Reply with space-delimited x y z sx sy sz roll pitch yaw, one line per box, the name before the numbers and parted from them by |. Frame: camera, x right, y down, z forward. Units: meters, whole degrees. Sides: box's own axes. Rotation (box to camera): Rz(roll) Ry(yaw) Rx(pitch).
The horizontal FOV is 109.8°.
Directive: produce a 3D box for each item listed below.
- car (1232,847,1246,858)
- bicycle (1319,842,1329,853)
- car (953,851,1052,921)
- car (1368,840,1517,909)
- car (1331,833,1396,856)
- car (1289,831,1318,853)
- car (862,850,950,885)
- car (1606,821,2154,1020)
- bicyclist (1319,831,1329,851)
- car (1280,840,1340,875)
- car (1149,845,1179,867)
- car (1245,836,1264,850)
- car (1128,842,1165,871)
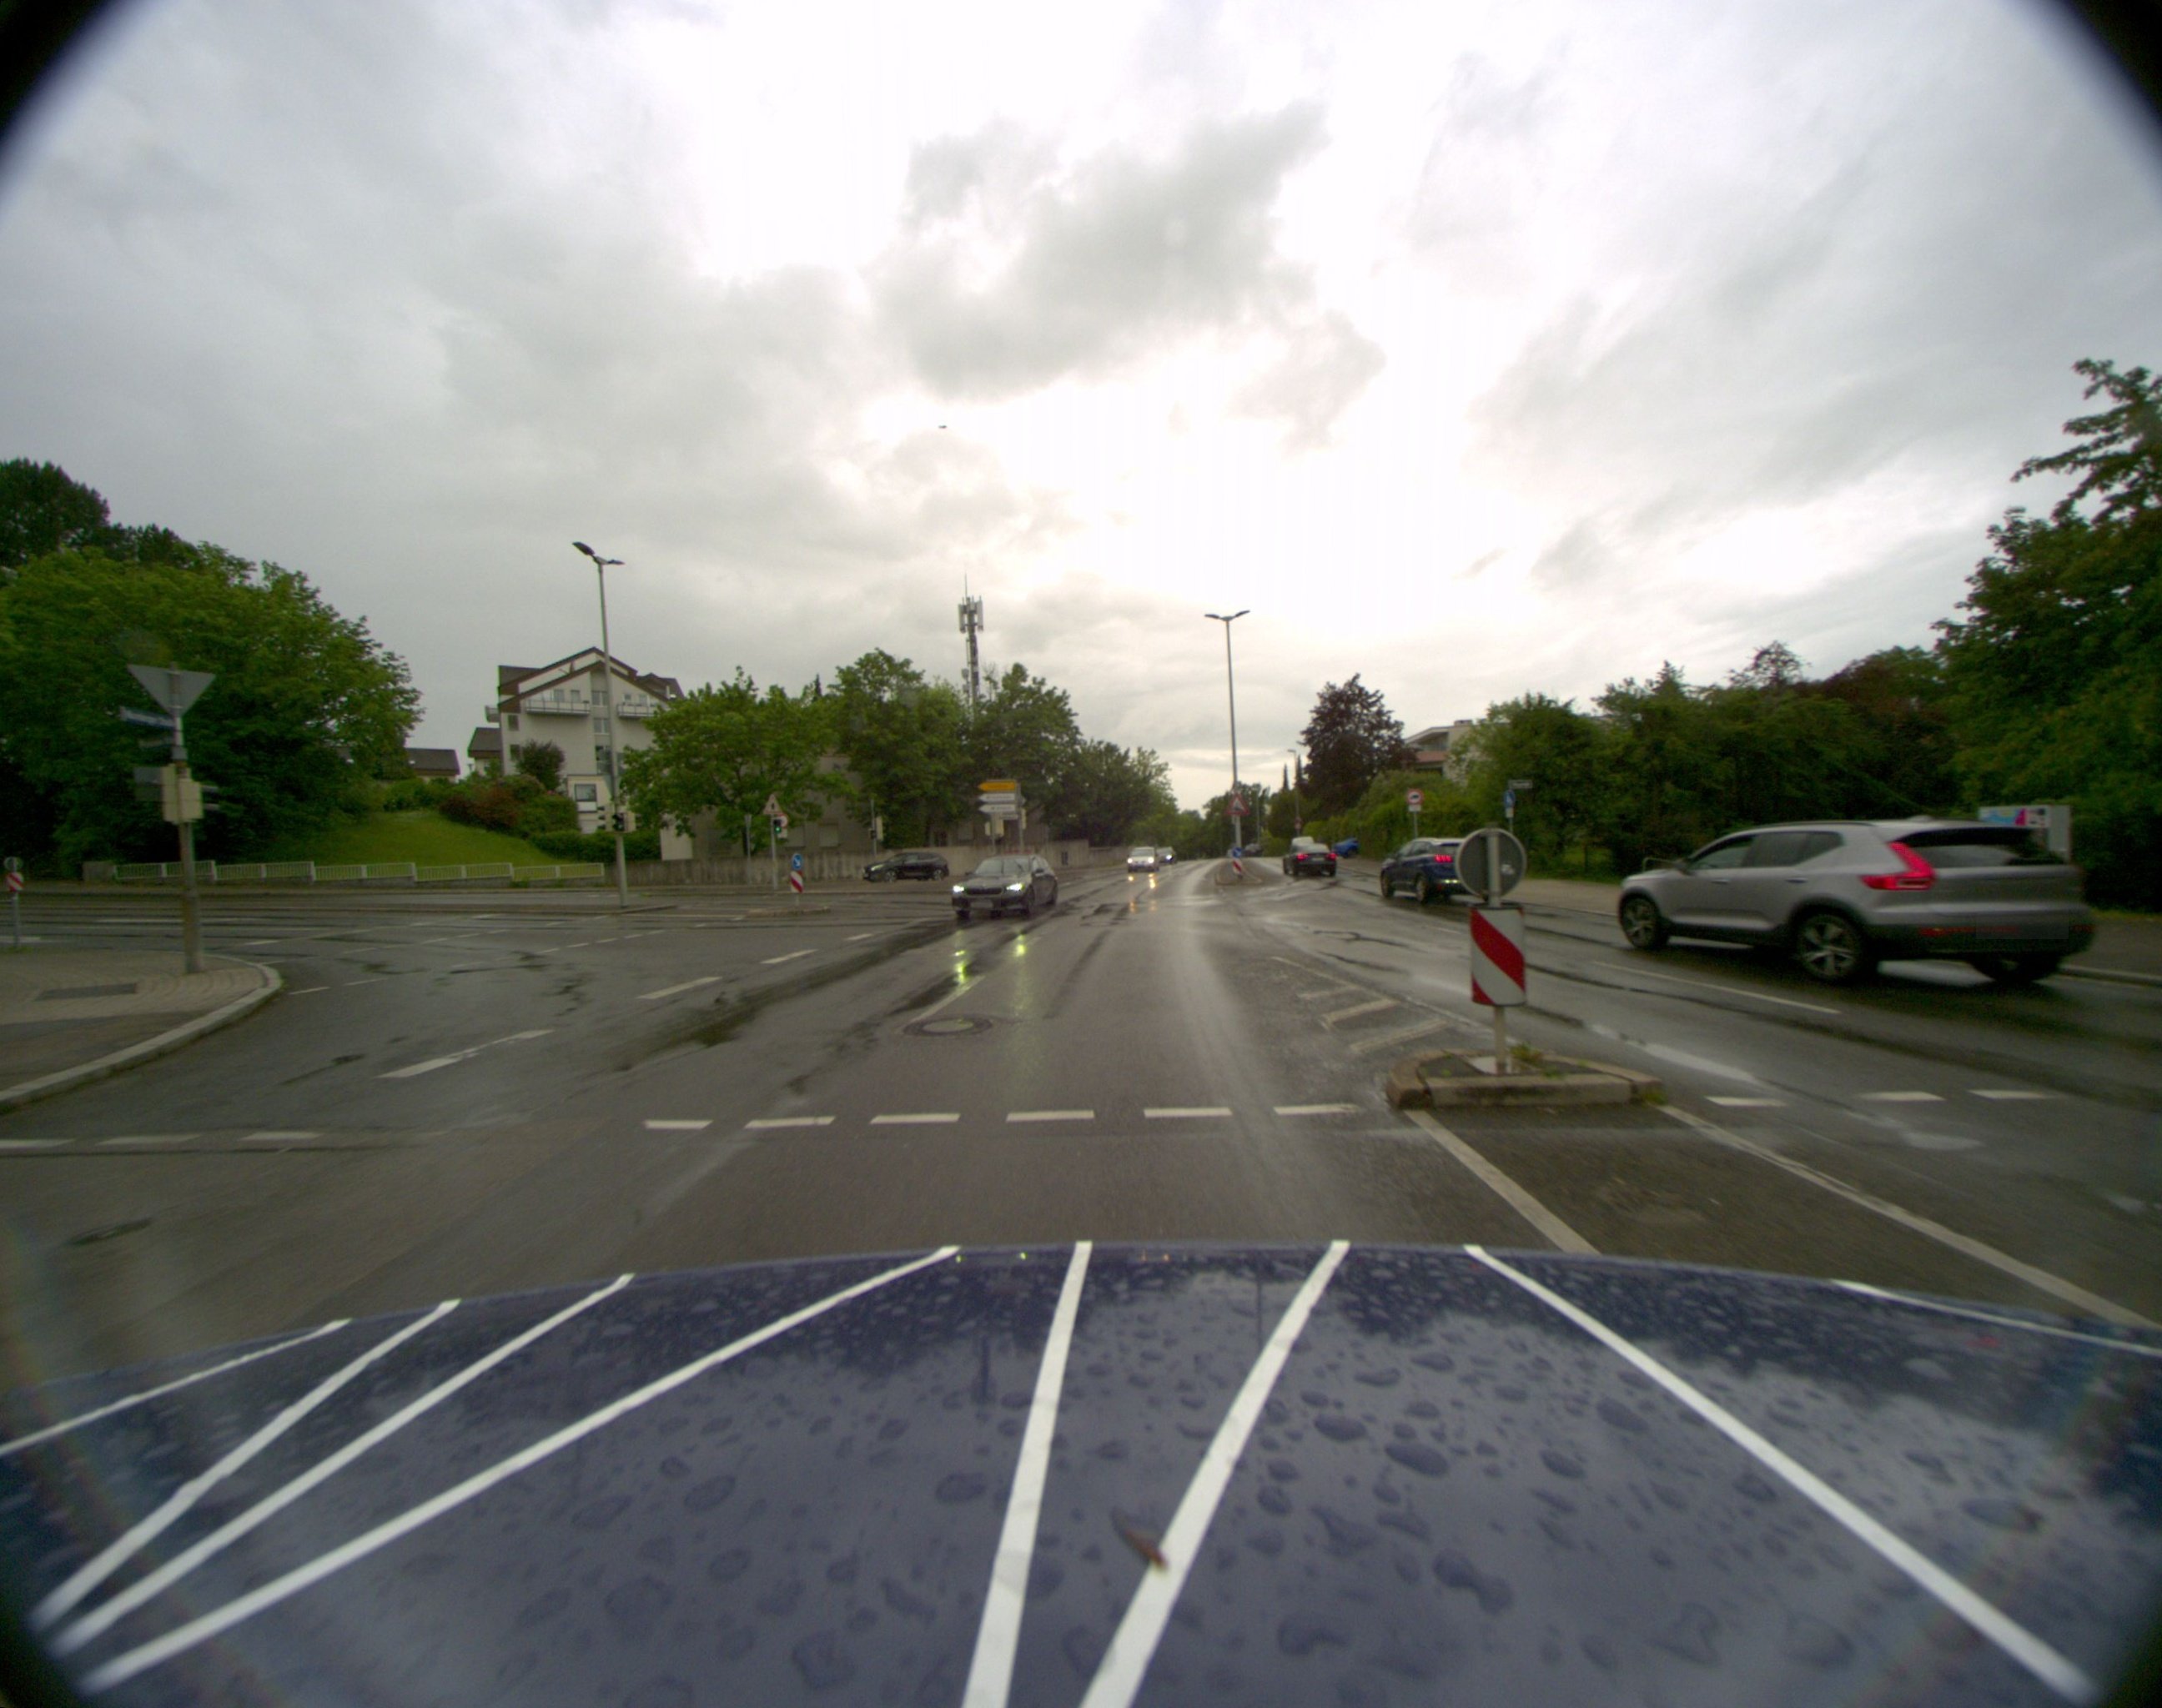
car | 23.629 -0.190 113.703 1.819 1.448 4.002 -2 2 9
bicycle | 20.194 -0.553 63.138 0.742 0.846 1.974 -2 1 17
car | -1.925 0.750 19.848 1.872 1.510 4.000 -2 2 4
car | 9.132 0.430 19.660 1.869 1.545 4.446 0 2 3
car | 19.338 -0.660 52.117 3.886 1.448 1.769 -2 2 8
car | 18.468 -1.028 63.318 1.819 1.707 4.002 -1 2 9
car | -8.953 0.638 38.993 4.006 1.543 1.690 -3 2 -36
car | 8.327 0.516 8.663 1.887 1.668 4.231 -2 2 2
bicyclist | 20.141 -1.080 63.041 0.742 1.637 0.778 -2 2 17
car | 10.333 0.112 34.624 1.868 1.468 4.447 0 2 7
car | 7.025 0.106 64.135 1.996 1.647 4.229 -1 2 13
car | 19.768 -1.234 86.491 1.819 1.448 4.002 -2 2 9
car | 4.169 0.124 48.020 1.997 1.647 4.002 -2 2 9
